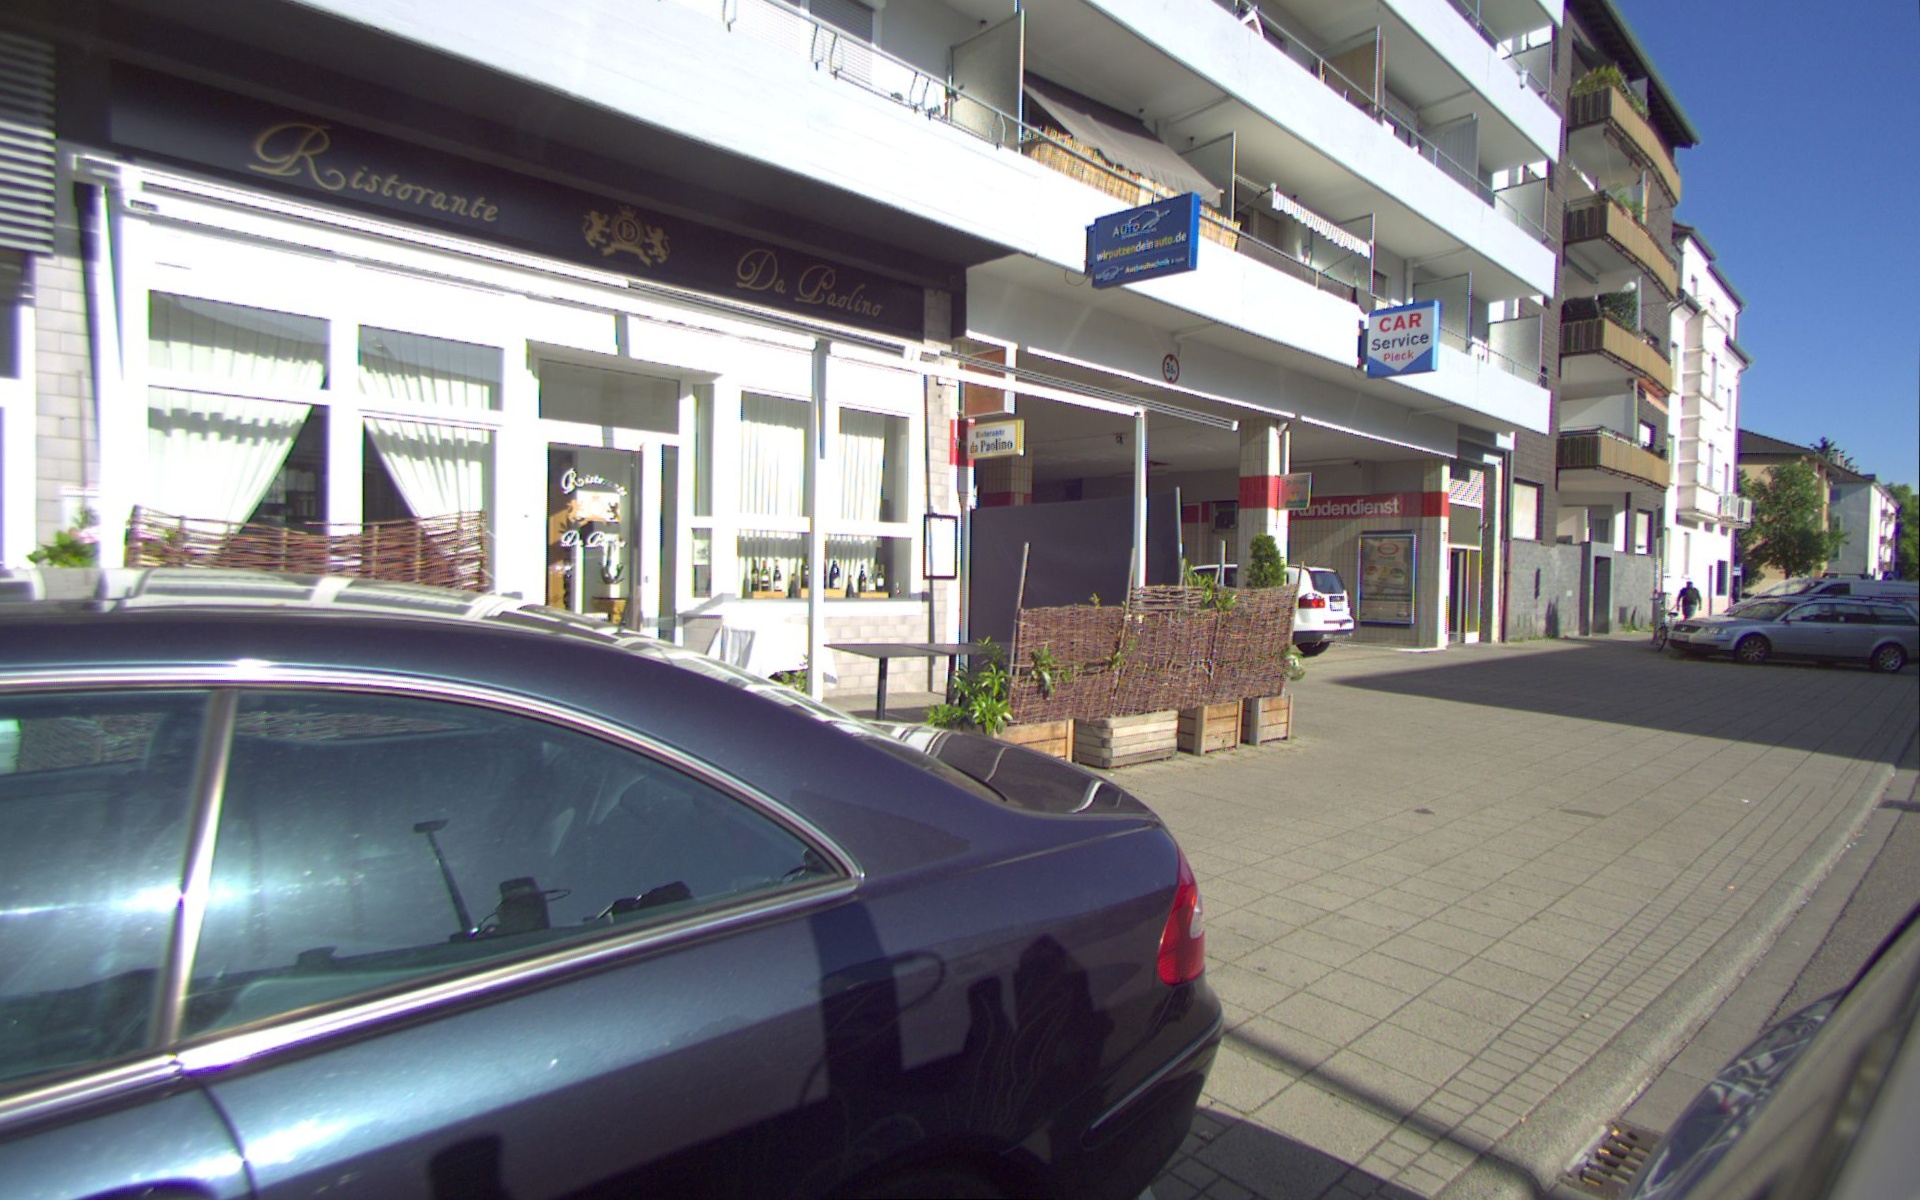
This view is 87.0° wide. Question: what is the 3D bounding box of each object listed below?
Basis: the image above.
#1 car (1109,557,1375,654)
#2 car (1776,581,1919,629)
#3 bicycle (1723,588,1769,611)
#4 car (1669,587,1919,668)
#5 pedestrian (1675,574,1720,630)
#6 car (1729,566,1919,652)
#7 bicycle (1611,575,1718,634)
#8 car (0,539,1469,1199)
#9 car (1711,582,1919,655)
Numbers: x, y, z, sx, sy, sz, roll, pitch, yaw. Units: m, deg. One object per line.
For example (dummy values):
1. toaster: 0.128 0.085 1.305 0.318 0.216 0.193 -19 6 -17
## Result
1. car: 5.134 -0.002 18.845 1.947 1.531 4.396 -1 3 -43
2. car: 32.576 0.188 36.176 4.798 1.482 1.967 4 2 12
3. bicycle: 43.595 -0.051 56.151 0.518 1.208 2.035 0 2 -21
4. car: 17.752 0.546 21.093 4.563 1.483 1.690 1 3 4
5. pedestrian: 22.201 0.049 30.470 0.873 1.613 0.835 0 2 -39
6. car: 22.955 0.208 26.082 4.451 1.920 2.048 2 4 6
7. bicycle: 15.836 0.102 22.754 2.214 1.270 0.708 2 0 -16
8. car: -1.538 0.666 1.394 4.909 1.468 1.977 -1 2 -36
9. car: 20.352 0.412 23.613 4.246 1.531 1.757 1 2 2
